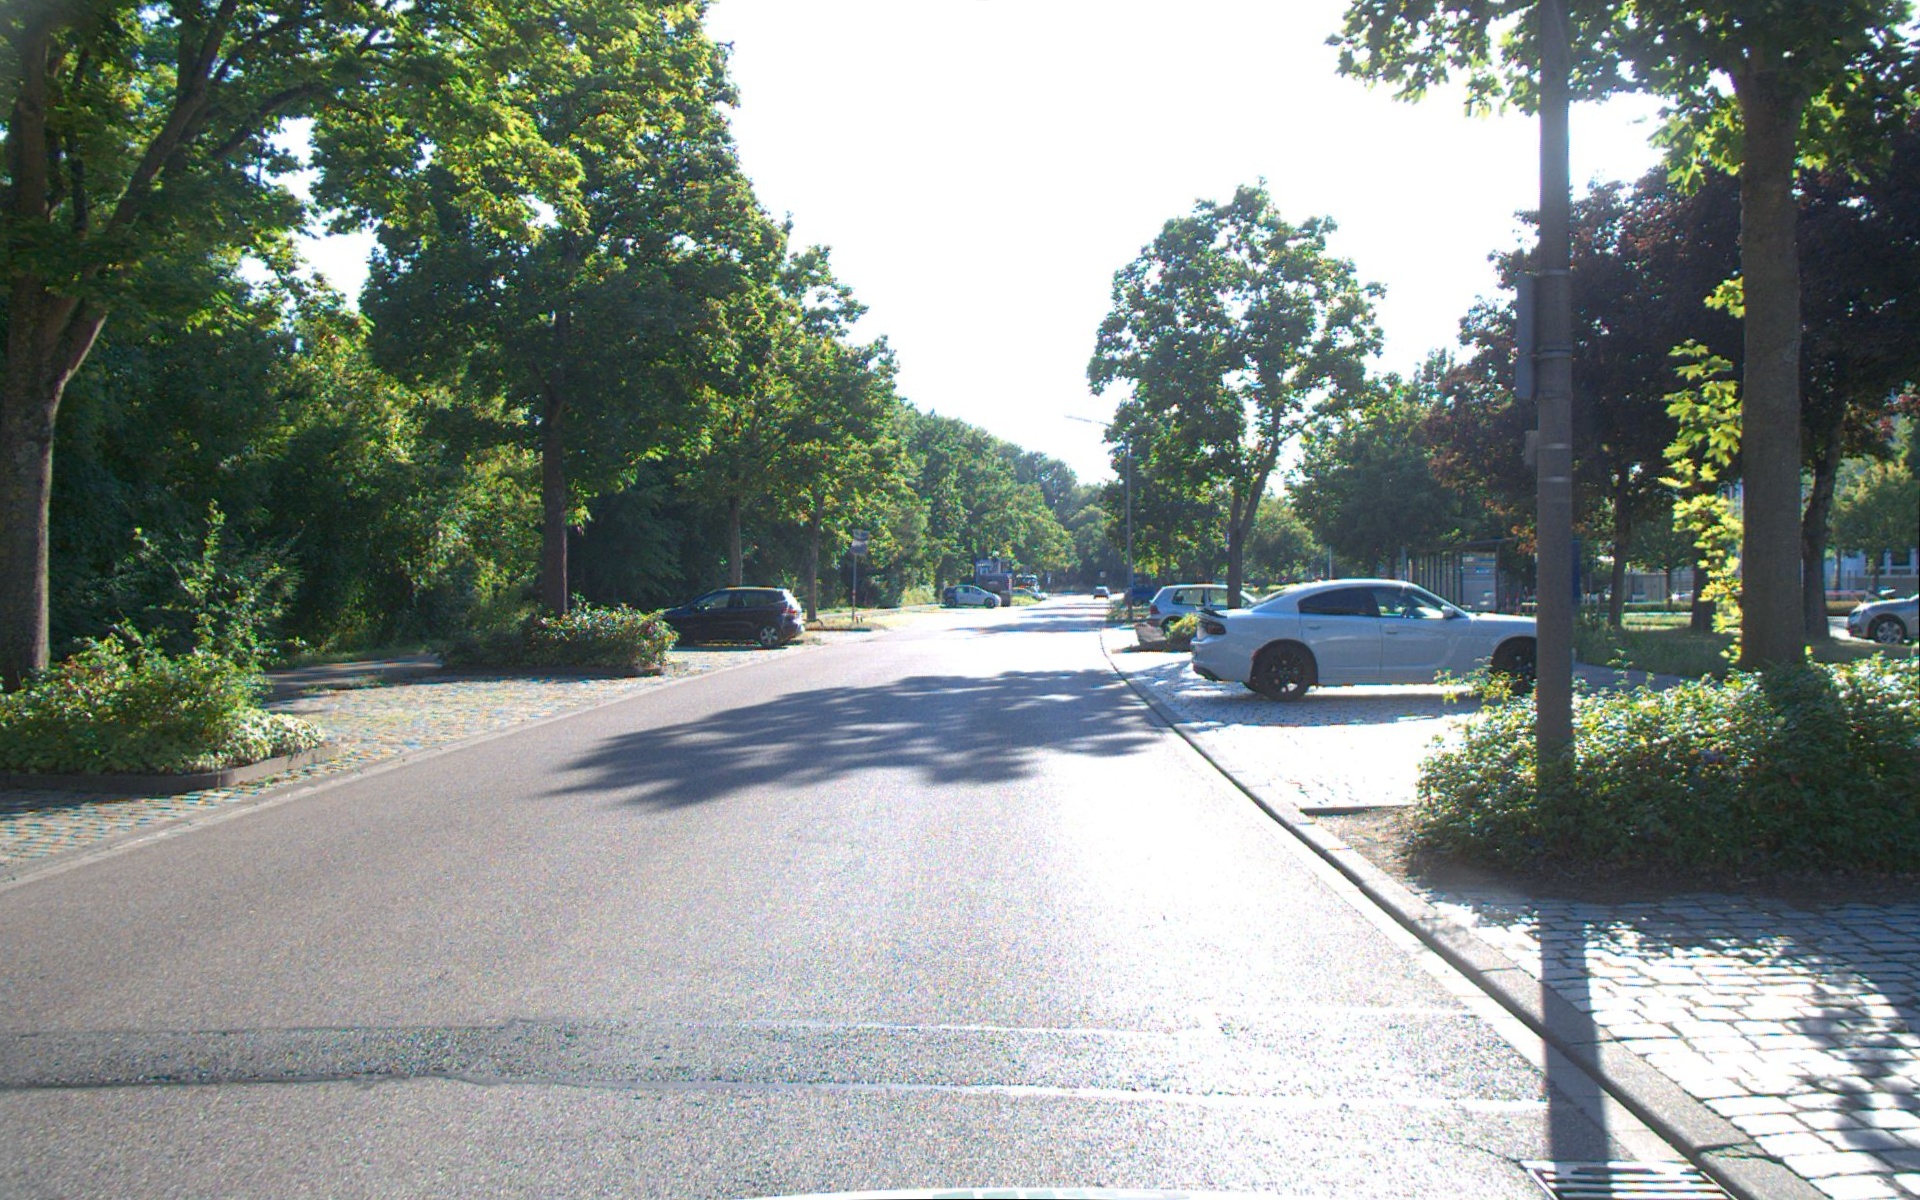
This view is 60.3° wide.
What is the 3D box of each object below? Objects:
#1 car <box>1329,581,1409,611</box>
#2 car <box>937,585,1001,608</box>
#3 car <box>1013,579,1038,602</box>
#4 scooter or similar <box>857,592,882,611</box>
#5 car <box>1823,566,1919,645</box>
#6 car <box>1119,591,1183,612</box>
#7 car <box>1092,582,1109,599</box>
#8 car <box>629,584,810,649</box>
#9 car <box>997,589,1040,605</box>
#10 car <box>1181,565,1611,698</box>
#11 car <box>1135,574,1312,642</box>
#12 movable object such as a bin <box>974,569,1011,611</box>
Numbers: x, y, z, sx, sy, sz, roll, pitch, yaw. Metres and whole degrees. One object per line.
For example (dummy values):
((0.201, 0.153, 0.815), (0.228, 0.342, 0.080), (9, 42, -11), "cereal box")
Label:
((24.167, -0.239, 97.835), (4.336, 1.735, 2.060), (-1, 0, 4), "car")
((0.645, -0.240, 115.684), (4.266, 1.574, 2.002), (-1, 0, 6), "car")
((7.040, -1.057, 178.017), (2.465, 2.427, 4.372), (-1, 0, -1), "car")
((-5.562, 0.085, 101.496), (0.568, 1.165, 1.573), (-1, 0, 45), "scooter or similar")
((20.602, 0.095, 33.868), (4.867, 1.601, 1.988), (0, 0, 43), "car")
((14.286, 0.085, 123.846), (4.738, 1.505, 2.002), (-1, 0, 6), "car")
((17.202, -1.176, 202.778), (1.952, 1.937, 4.002), (-1, 0, 4), "car")
((-6.131, 0.408, 42.484), (4.267, 1.505, 2.001), (2, 0, 3), "car")
((5.985, -0.298, 168.478), (4.270, 1.505, 2.000), (-1, 0, -1), "car")
((5.586, 0.384, 21.693), (5.069, 1.601, 2.158), (-1, 0, 0), "car")
((6.696, 0.204, 41.843), (4.265, 1.505, 2.002), (-3, -1, 12), "car")
((2.510, -0.757, 128.354), (2.779, 3.122, 4.928), (-1, 0, 1), "movable object such as a bin")
